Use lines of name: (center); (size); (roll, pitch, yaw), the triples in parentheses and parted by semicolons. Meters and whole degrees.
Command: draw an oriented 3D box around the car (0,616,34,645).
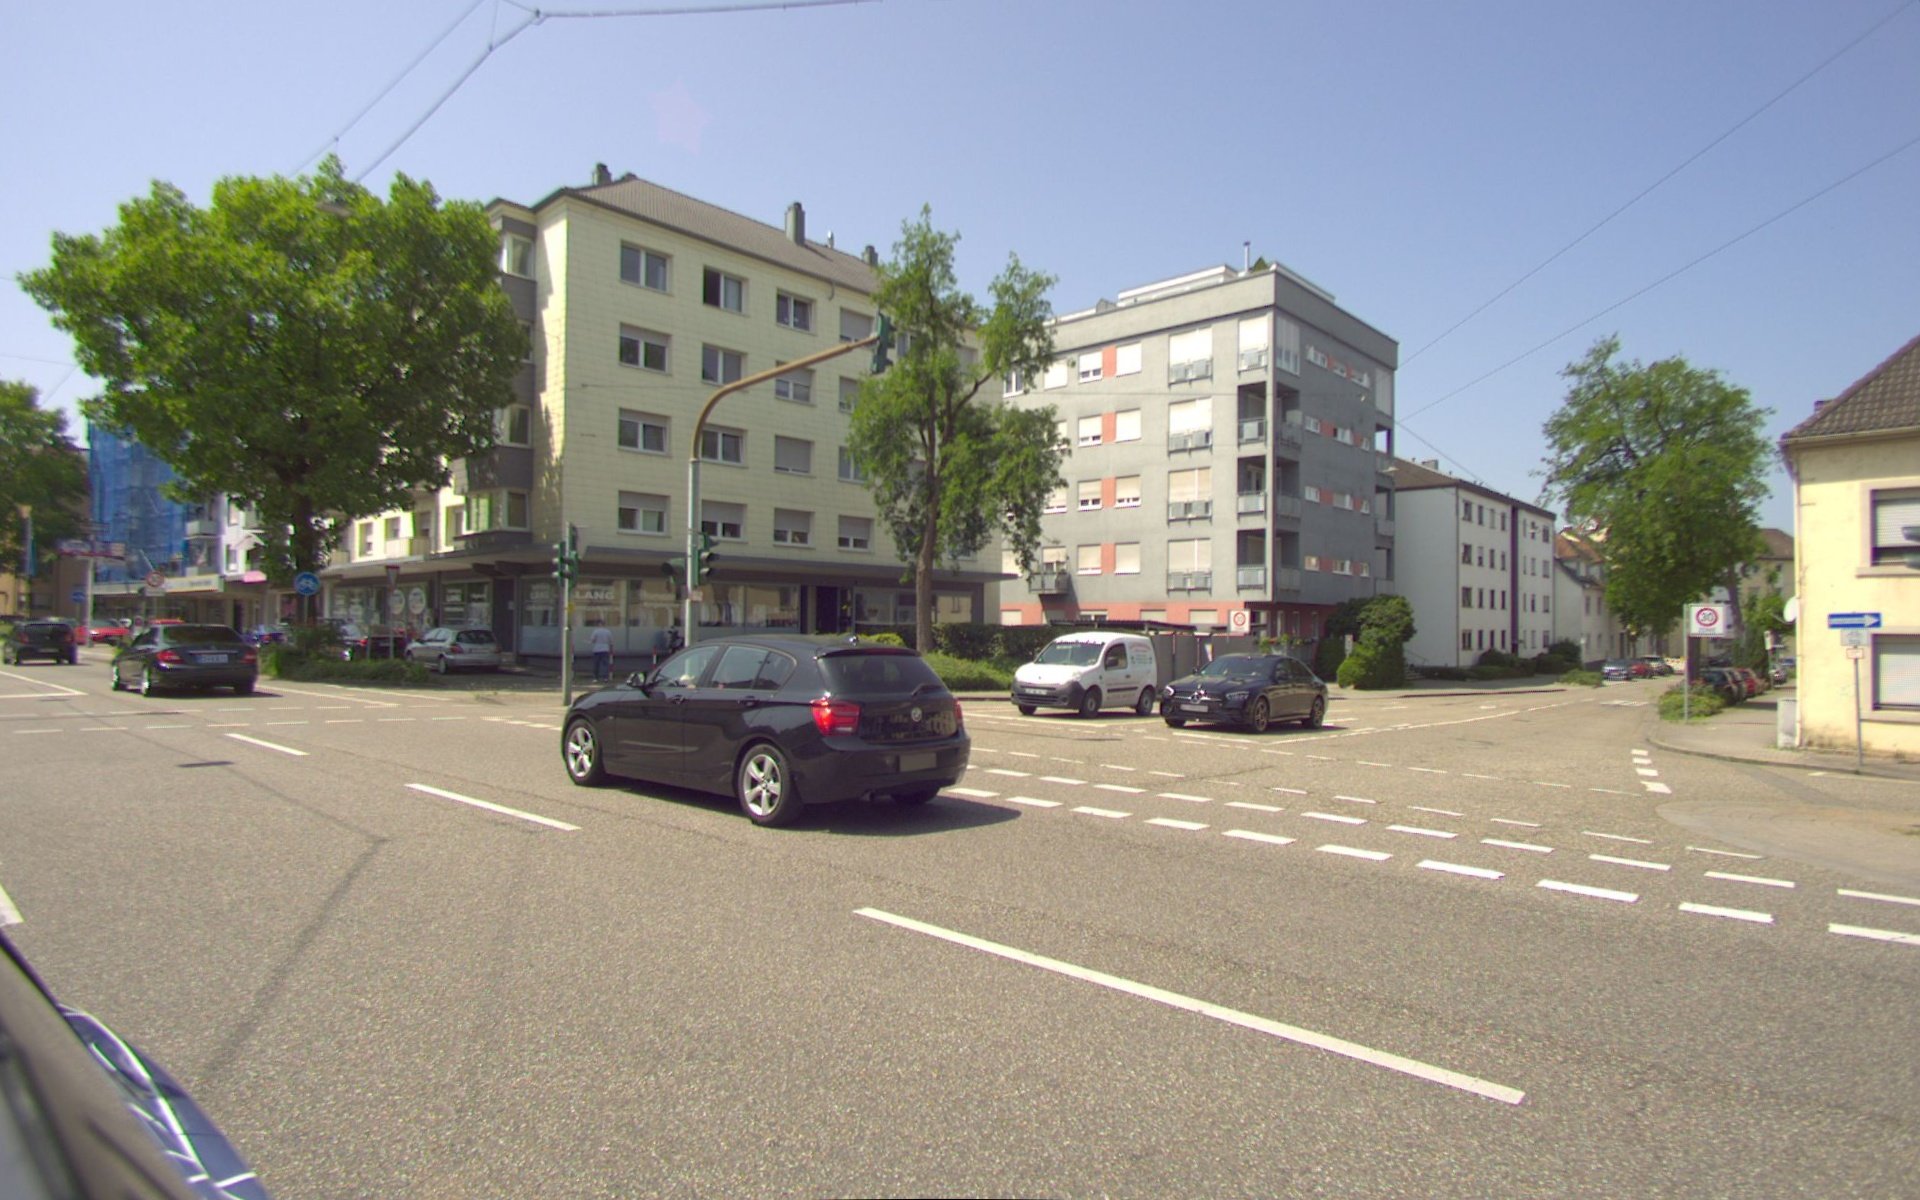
car: (-61.831, 1.964, 65.378); (4.321, 1.819, 1.892); (-1, -2, 33)

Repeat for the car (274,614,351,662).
car: (-26.554, 1.536, 41.487); (3.857, 1.853, 1.622); (-2, -2, 41)

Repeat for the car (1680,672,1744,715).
car: (31.742, 3.898, 42.655); (1.809, 1.417, 3.944); (-1, -1, 42)

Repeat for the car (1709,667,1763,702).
car: (39.430, 4.251, 51.401); (1.836, 1.417, 4.269); (-1, -1, 42)

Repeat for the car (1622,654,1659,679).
car: (51.120, 4.958, 75.993); (3.203, 1.684, 1.550); (0, -1, -42)

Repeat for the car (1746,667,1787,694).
car: (52.637, 5.206, 66.037); (1.836, 1.417, 4.269); (-1, -1, 42)

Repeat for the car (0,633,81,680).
car: (-31.072, 1.886, 34.072); (3.706, 1.467, 1.600); (-2, -4, 40)

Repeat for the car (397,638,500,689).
car: (-16.295, 1.969, 32.184); (3.938, 1.470, 1.566); (-1, -2, 41)

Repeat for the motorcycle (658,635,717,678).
motorcycle: (-9.506, 1.947, 35.323); (0.714, 1.431, 1.894); (1, 0, 42)

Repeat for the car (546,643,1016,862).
car: (-1.674, 1.099, 8.661); (4.048, 1.410, 1.817); (-2, -4, 41)

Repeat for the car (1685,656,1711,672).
car: (73.683, 6.357, 101.031); (3.203, 1.392, 1.550); (0, -1, -42)

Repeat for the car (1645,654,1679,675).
car: (55.387, 5.085, 79.797); (3.204, 1.410, 1.550); (0, -1, -43)

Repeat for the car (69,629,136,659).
car: (-45.805, 2.333, 54.009); (4.328, 1.531, 1.889); (-1, -3, 38)

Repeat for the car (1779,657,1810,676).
car: (70.584, 5.619, 85.572); (3.203, 1.400, 1.550); (0, -1, -42)

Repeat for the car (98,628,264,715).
car: (-15.836, 1.387, 20.505); (4.314, 1.572, 1.737); (-2, -4, 40)

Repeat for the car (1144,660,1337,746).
car: (5.615, 1.962, 19.836); (2.113, 1.412, 4.561); (-1, -5, 37)

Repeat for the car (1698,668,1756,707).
car: (35.375, 3.994, 46.635); (1.809, 1.417, 3.944); (-1, -1, 42)

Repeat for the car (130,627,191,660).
car: (-37.477, 1.999, 47.423); (3.633, 1.479, 1.617); (-1, -2, 42)

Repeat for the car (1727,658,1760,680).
car: (59.336, 5.226, 76.623); (1.713, 1.417, 4.025); (-1, -1, 42)

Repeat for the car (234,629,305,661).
car: (-30.759, 1.984, 45.030); (3.859, 1.296, 1.682); (-1, -1, 41)

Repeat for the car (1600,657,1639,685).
car: (46.313, 4.965, 71.078); (3.203, 1.684, 1.550); (0, -1, -42)

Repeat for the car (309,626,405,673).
car: (-22.318, 1.781, 37.380); (4.837, 1.581, 1.605); (-1, -2, 41)

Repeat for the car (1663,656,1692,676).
car: (66.630, 6.137, 93.966); (3.203, 1.684, 1.550); (0, -1, -42)

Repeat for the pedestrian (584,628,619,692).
pedestrian: (-10.222, 1.721, 28.866); (0.742, 1.773, 0.620); (-7, -6, 40)

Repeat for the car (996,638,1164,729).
car: (2.647, 1.762, 21.677); (1.892, 1.748, 3.648); (-1, -4, 39)
